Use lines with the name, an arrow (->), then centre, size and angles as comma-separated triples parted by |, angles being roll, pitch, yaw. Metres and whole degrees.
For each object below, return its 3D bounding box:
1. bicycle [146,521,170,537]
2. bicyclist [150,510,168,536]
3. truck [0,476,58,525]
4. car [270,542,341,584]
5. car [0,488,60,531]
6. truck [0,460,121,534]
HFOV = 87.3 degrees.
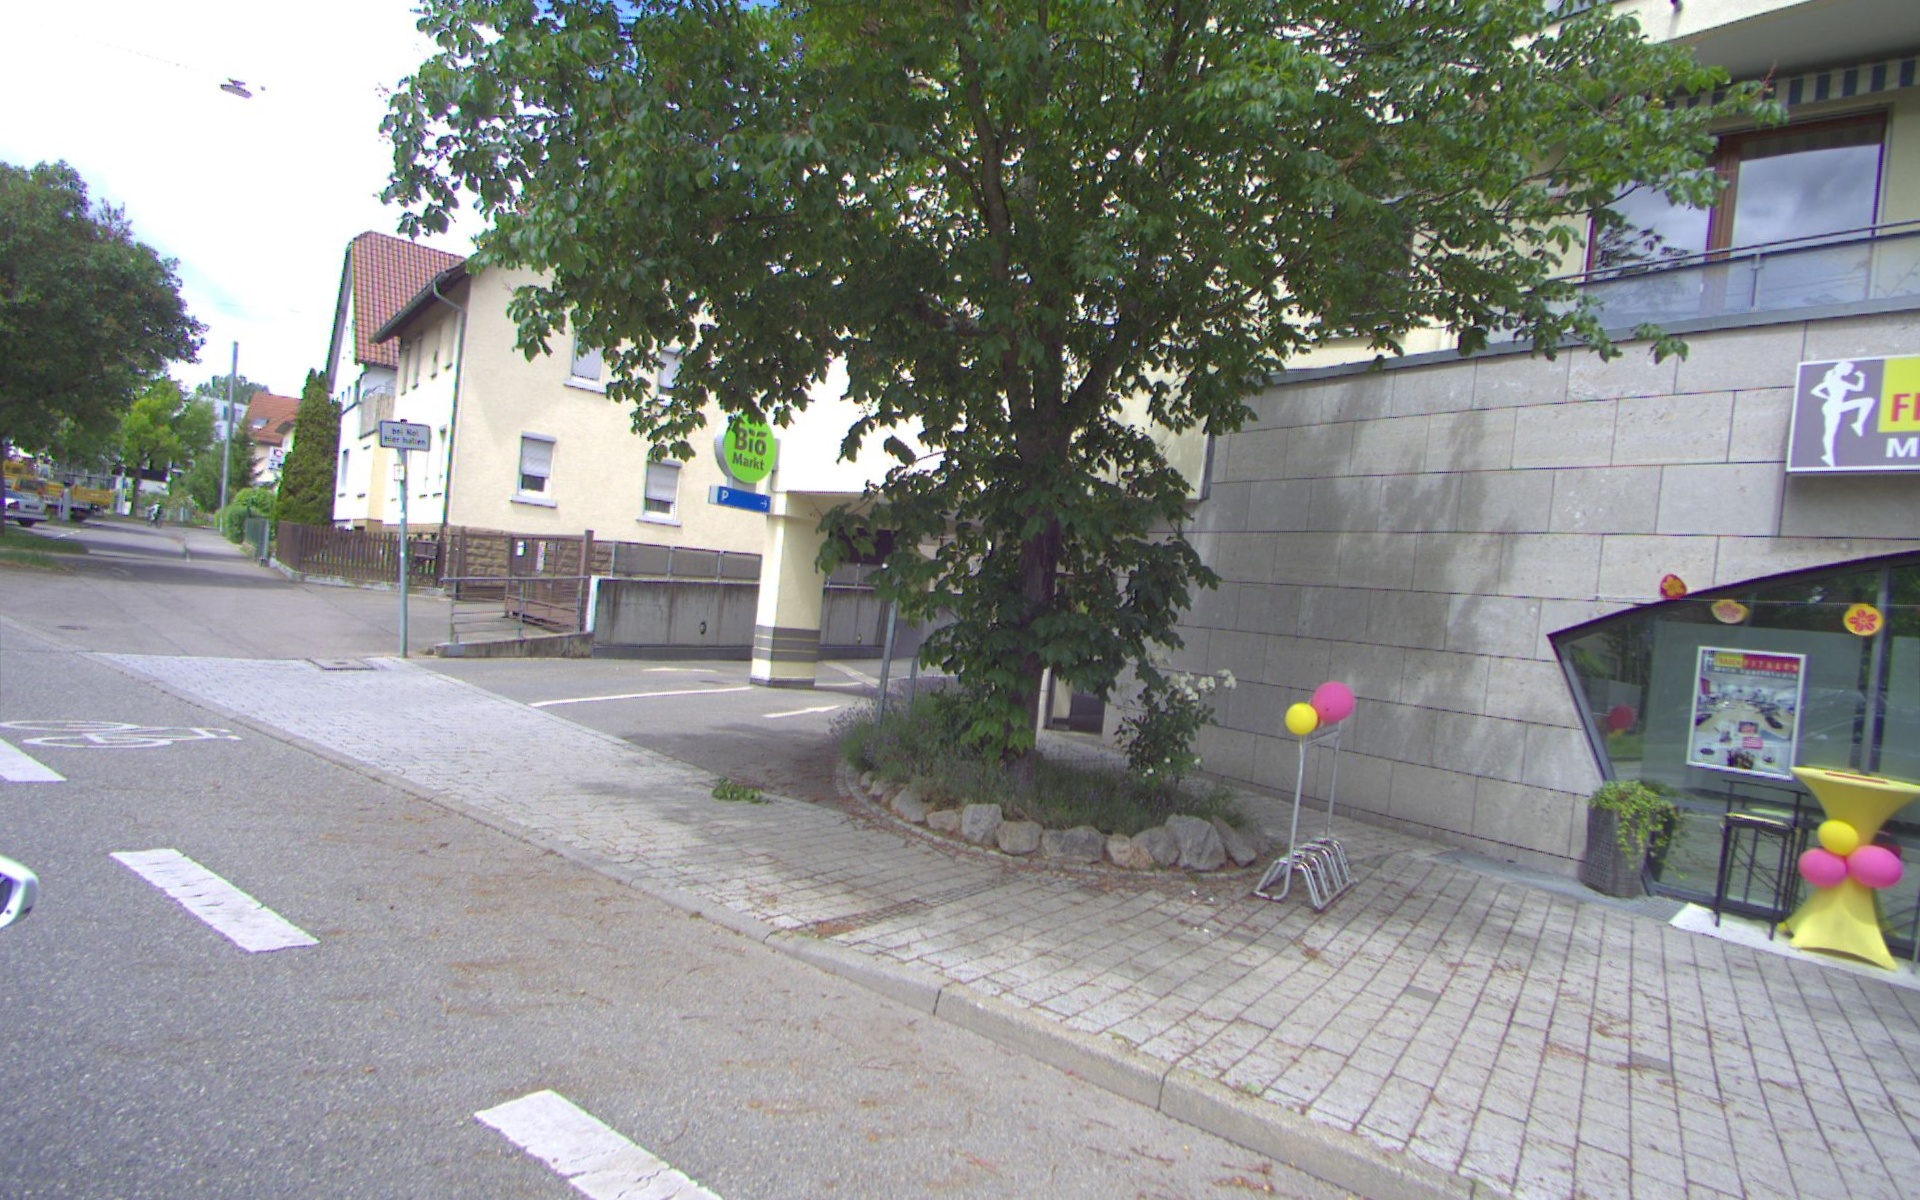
bicycle -> -51.360, -4.529, 64.425 | 1.725, 0.821, 0.595 | 6, -2, 31
bicyclist -> -51.333, -4.951, 64.459 | 0.557, 1.577, 0.590 | 6, -2, 31
truck -> -49.322, -5.299, 50.697 | 5.575, 2.036, 2.001 | 8, -2, -3
car -> -22.640, -1.301, 34.768 | 1.457, 1.137, 3.828 | 9, -3, -41
car -> -38.917, -3.830, 39.971 | 4.603, 1.469, 1.768 | 7, 0, 0
truck -> -49.459, -5.621, 53.664 | 6.585, 3.042, 2.771 | 8, -2, -2
